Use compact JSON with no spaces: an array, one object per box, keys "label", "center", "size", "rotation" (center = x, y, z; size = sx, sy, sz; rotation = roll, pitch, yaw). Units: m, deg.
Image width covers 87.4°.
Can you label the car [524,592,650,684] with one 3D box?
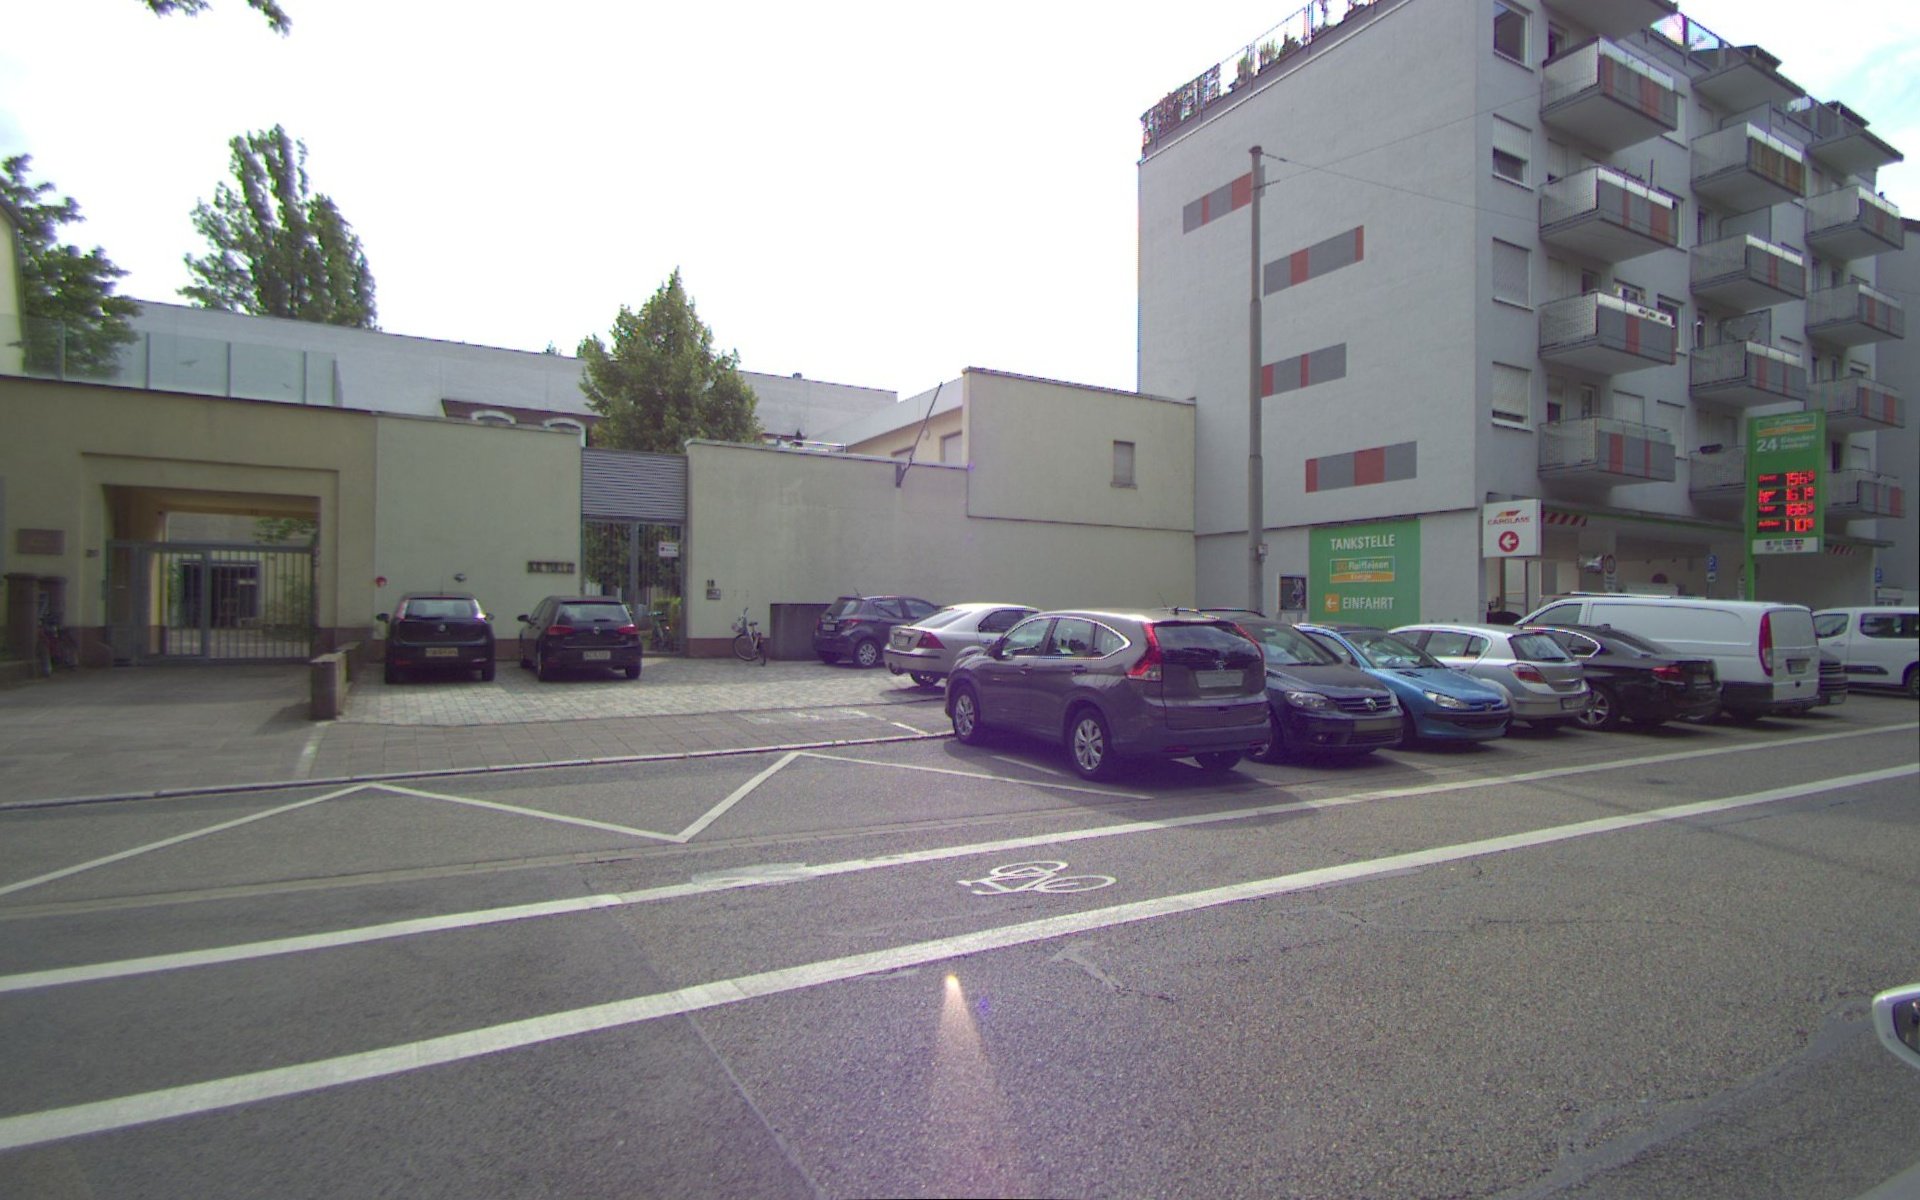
[{"label":"car","center":[-7.081,0.628,18.839],"size":[1.892,1.485,3.974],"rotation":[0,1,-25]}]

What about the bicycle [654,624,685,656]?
[{"label":"bicycle","center":[-7.406,1.014,25.588],"size":[0.483,0.752,1.978],"rotation":[0,0,-24]}]

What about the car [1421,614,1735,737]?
[{"label":"car","center":[9.191,1.023,15.230],"size":[1.732,1.464,3.664],"rotation":[0,1,-30]}]

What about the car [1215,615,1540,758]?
[{"label":"car","center":[5.322,1.003,13.251],"size":[1.733,1.446,3.663],"rotation":[0,1,-30]}]

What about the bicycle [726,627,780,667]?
[{"label":"bicycle","center":[-4.402,0.974,21.222],"size":[0.484,0.752,1.973],"rotation":[0,0,-31]}]

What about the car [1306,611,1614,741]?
[{"label":"car","center":[7.116,0.980,14.649],"size":[1.733,1.505,3.663],"rotation":[0,2,-30]}]

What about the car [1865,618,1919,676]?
[{"label":"car","center":[25.211,1.228,25.269],"size":[1.487,1.421,3.325],"rotation":[1,1,-31]}]

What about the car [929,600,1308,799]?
[{"label":"car","center":[1.479,0.864,11.015],"size":[1.944,1.627,4.238],"rotation":[-1,1,-29]}]

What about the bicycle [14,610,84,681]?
[{"label":"bicycle","center":[-15.143,0.728,16.726],"size":[0.394,1.058,1.791],"rotation":[-1,1,-28]}]

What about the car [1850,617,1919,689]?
[{"label":"car","center":[21.625,1.177,21.644],"size":[1.578,1.517,3.325],"rotation":[1,1,-31]}]

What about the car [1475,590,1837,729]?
[{"label":"car","center":[11.316,0.826,16.718],"size":[2.022,1.904,4.506],"rotation":[0,1,-29]}]

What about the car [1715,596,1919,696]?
[{"label":"car","center":[19.014,0.916,21.420],"size":[1.803,1.895,4.285],"rotation":[1,1,-31]}]

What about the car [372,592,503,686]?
[{"label":"car","center":[-9.316,0.601,18.141],"size":[1.865,1.439,3.974],"rotation":[-1,1,-25]}]

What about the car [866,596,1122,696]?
[{"label":"car","center":[0.625,0.721,17.484],"size":[4.183,1.539,1.749],"rotation":[0,1,-30]}]

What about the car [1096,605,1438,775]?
[{"label":"car","center":[3.504,0.911,12.220],"size":[1.731,1.591,3.925],"rotation":[0,1,-27]}]

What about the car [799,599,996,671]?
[{"label":"car","center":[-1.325,0.698,21.938],"size":[3.960,1.350,1.800],"rotation":[-1,2,-36]}]

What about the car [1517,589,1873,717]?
[{"label":"car","center":[13.268,0.827,18.525],"size":[1.976,1.929,4.892],"rotation":[0,2,-30]}]
